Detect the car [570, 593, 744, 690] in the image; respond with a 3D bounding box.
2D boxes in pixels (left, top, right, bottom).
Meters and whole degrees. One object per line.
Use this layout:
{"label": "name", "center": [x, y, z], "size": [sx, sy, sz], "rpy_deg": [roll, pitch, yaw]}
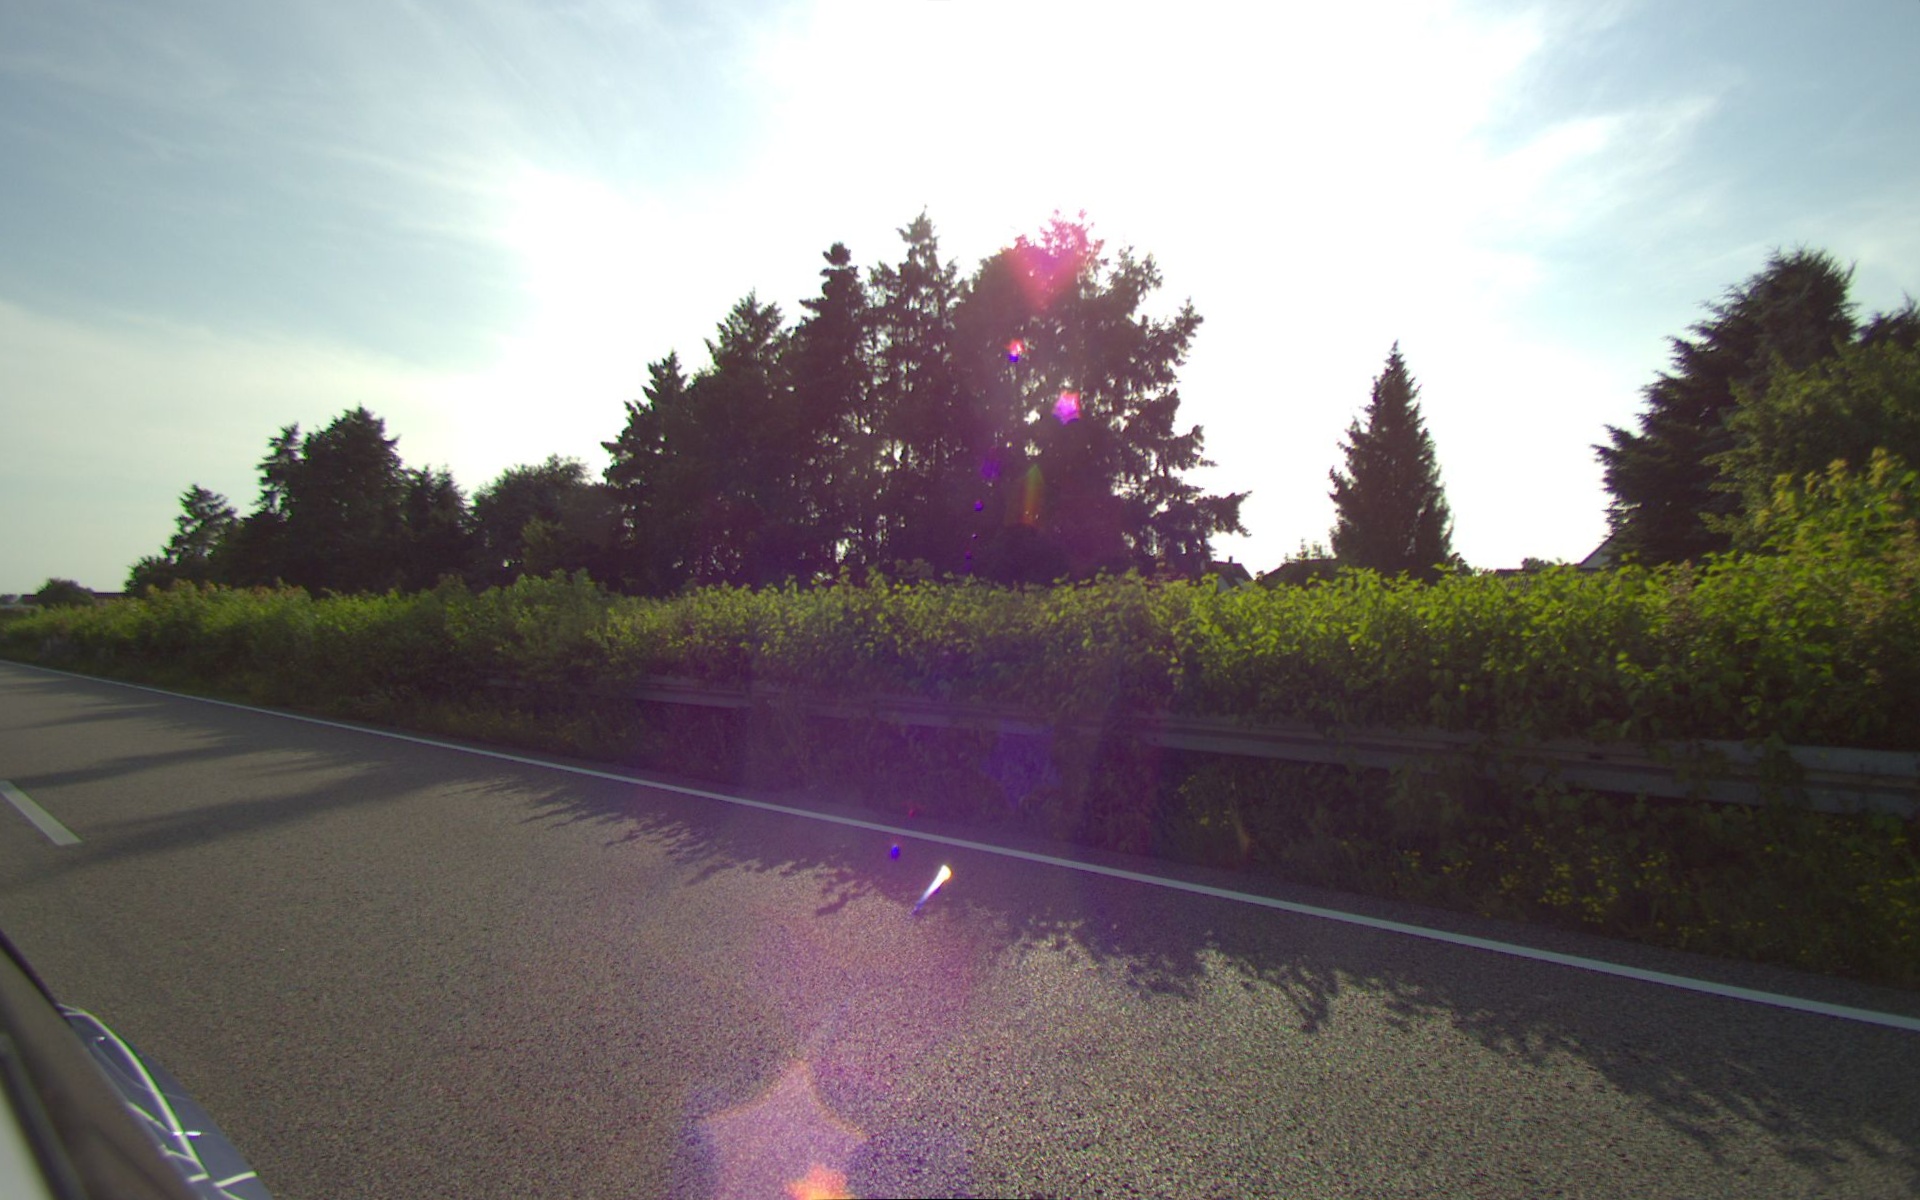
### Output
{"label": "car", "center": [-7.006, 0.890, 23.224], "size": [3.997, 2.029, 1.973], "rpy_deg": [-1, -1, 41]}
